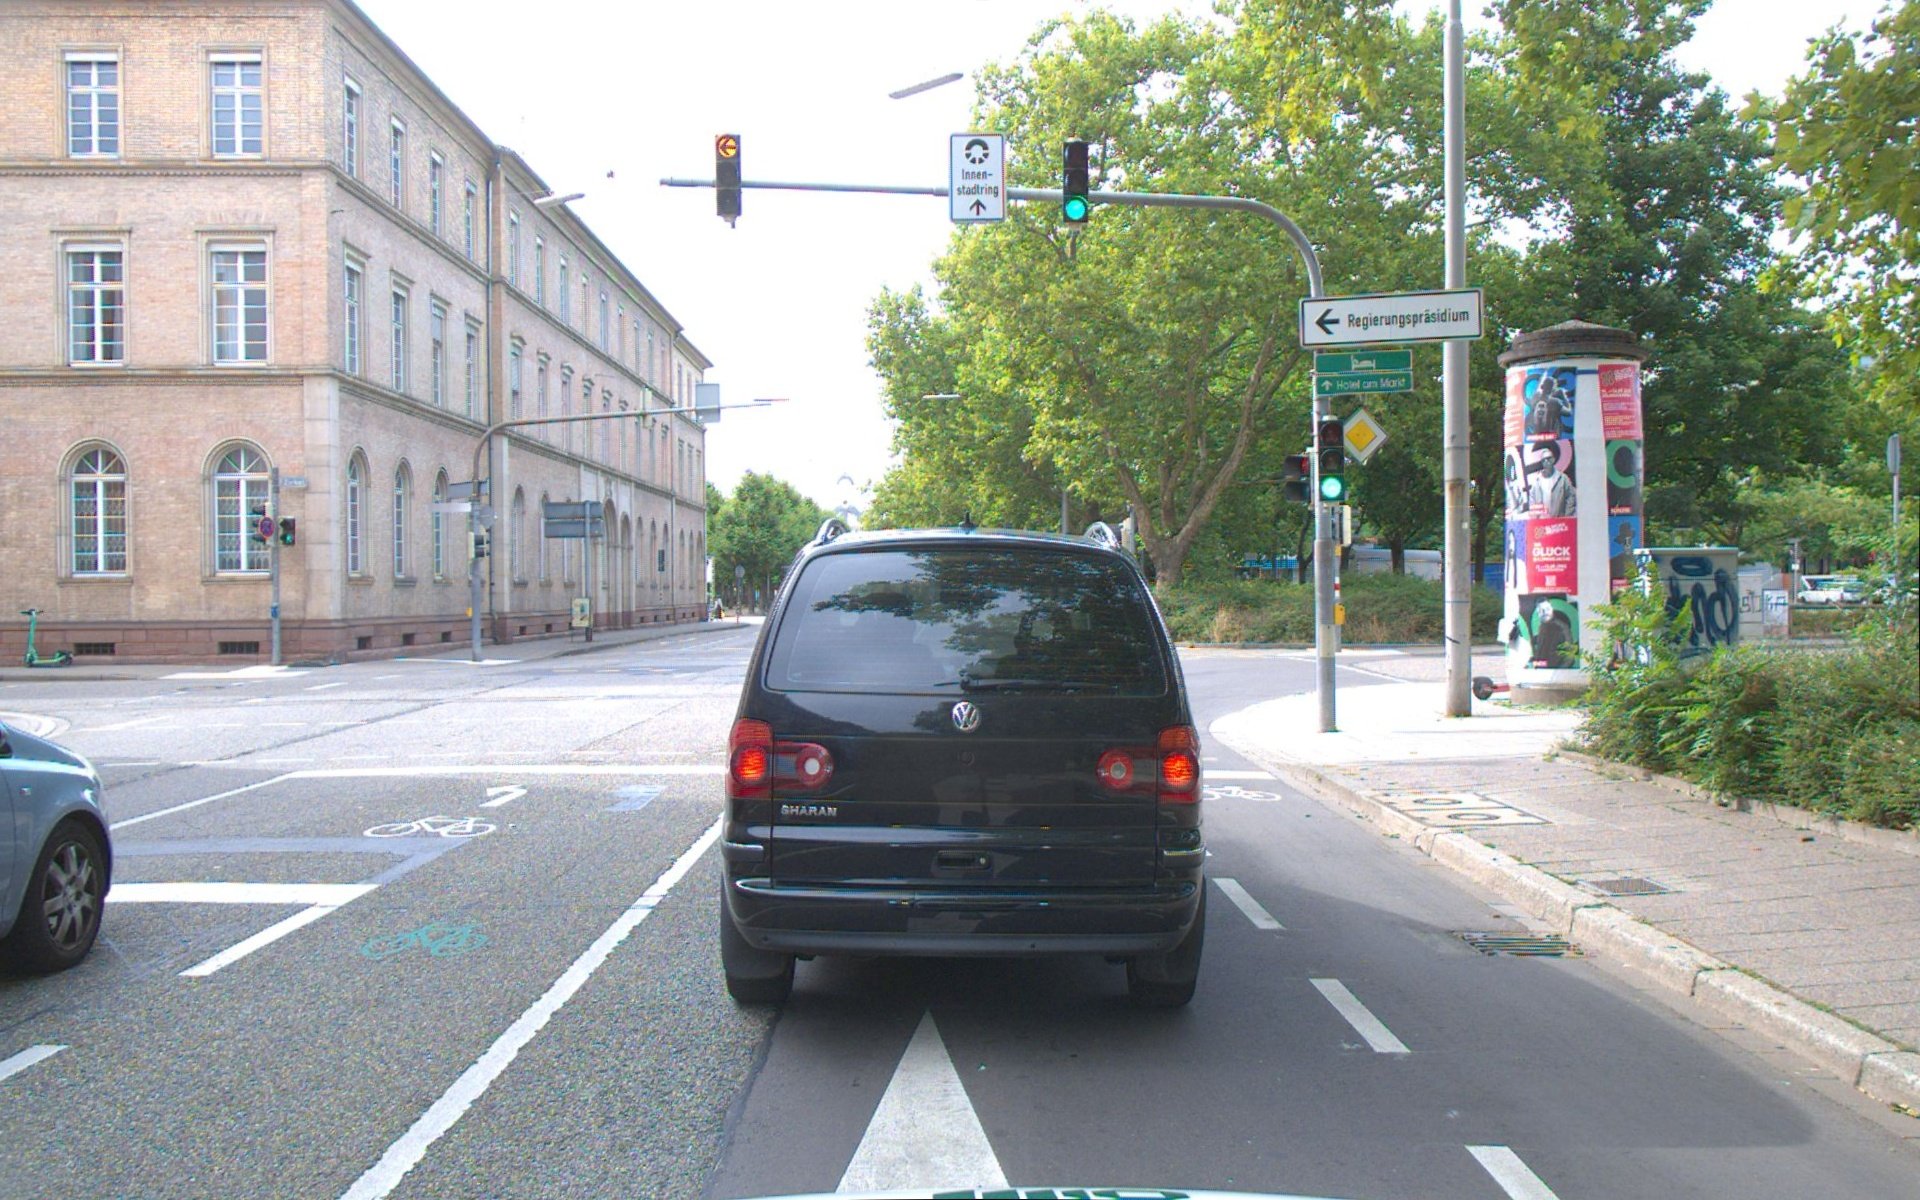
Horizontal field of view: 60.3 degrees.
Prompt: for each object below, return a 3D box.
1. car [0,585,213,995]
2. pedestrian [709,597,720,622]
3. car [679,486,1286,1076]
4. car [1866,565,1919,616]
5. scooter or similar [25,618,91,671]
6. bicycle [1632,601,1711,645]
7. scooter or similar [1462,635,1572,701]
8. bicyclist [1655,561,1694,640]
[{"bbox_3d":[-4.237,0.706,5.402,1.678,1.445,4.252,-2,0,-1],"label":"car"},{"bbox_3d":[-14.348,0.547,96.770,0.545,1.460,0.579,-1,0,-1],"label":"pedestrian"},{"bbox_3d":[0.038,0.524,7.319,1.836,1.775,4.573,0,1,-1],"label":"car"},{"bbox_3d":[32.487,-0.320,55.370,1.922,1.680,4.151,-1,0,-3],"label":"car"},{"bbox_3d":[-18.337,0.905,33.623,1.115,1.068,0.379,-1,-1,-1],"label":"scooter or similar"},{"bbox_3d":[15.060,0.479,35.015,1.440,0.900,0.555,-1,0,-1],"label":"bicycle"},{"bbox_3d":[6.695,0.813,19.893,1.194,0.749,0.369,-1,0,-1],"label":"scooter or similar"},{"bbox_3d":[15.122,0.011,35.006,0.557,1.646,0.535,-1,0,-1],"label":"bicyclist"}]
